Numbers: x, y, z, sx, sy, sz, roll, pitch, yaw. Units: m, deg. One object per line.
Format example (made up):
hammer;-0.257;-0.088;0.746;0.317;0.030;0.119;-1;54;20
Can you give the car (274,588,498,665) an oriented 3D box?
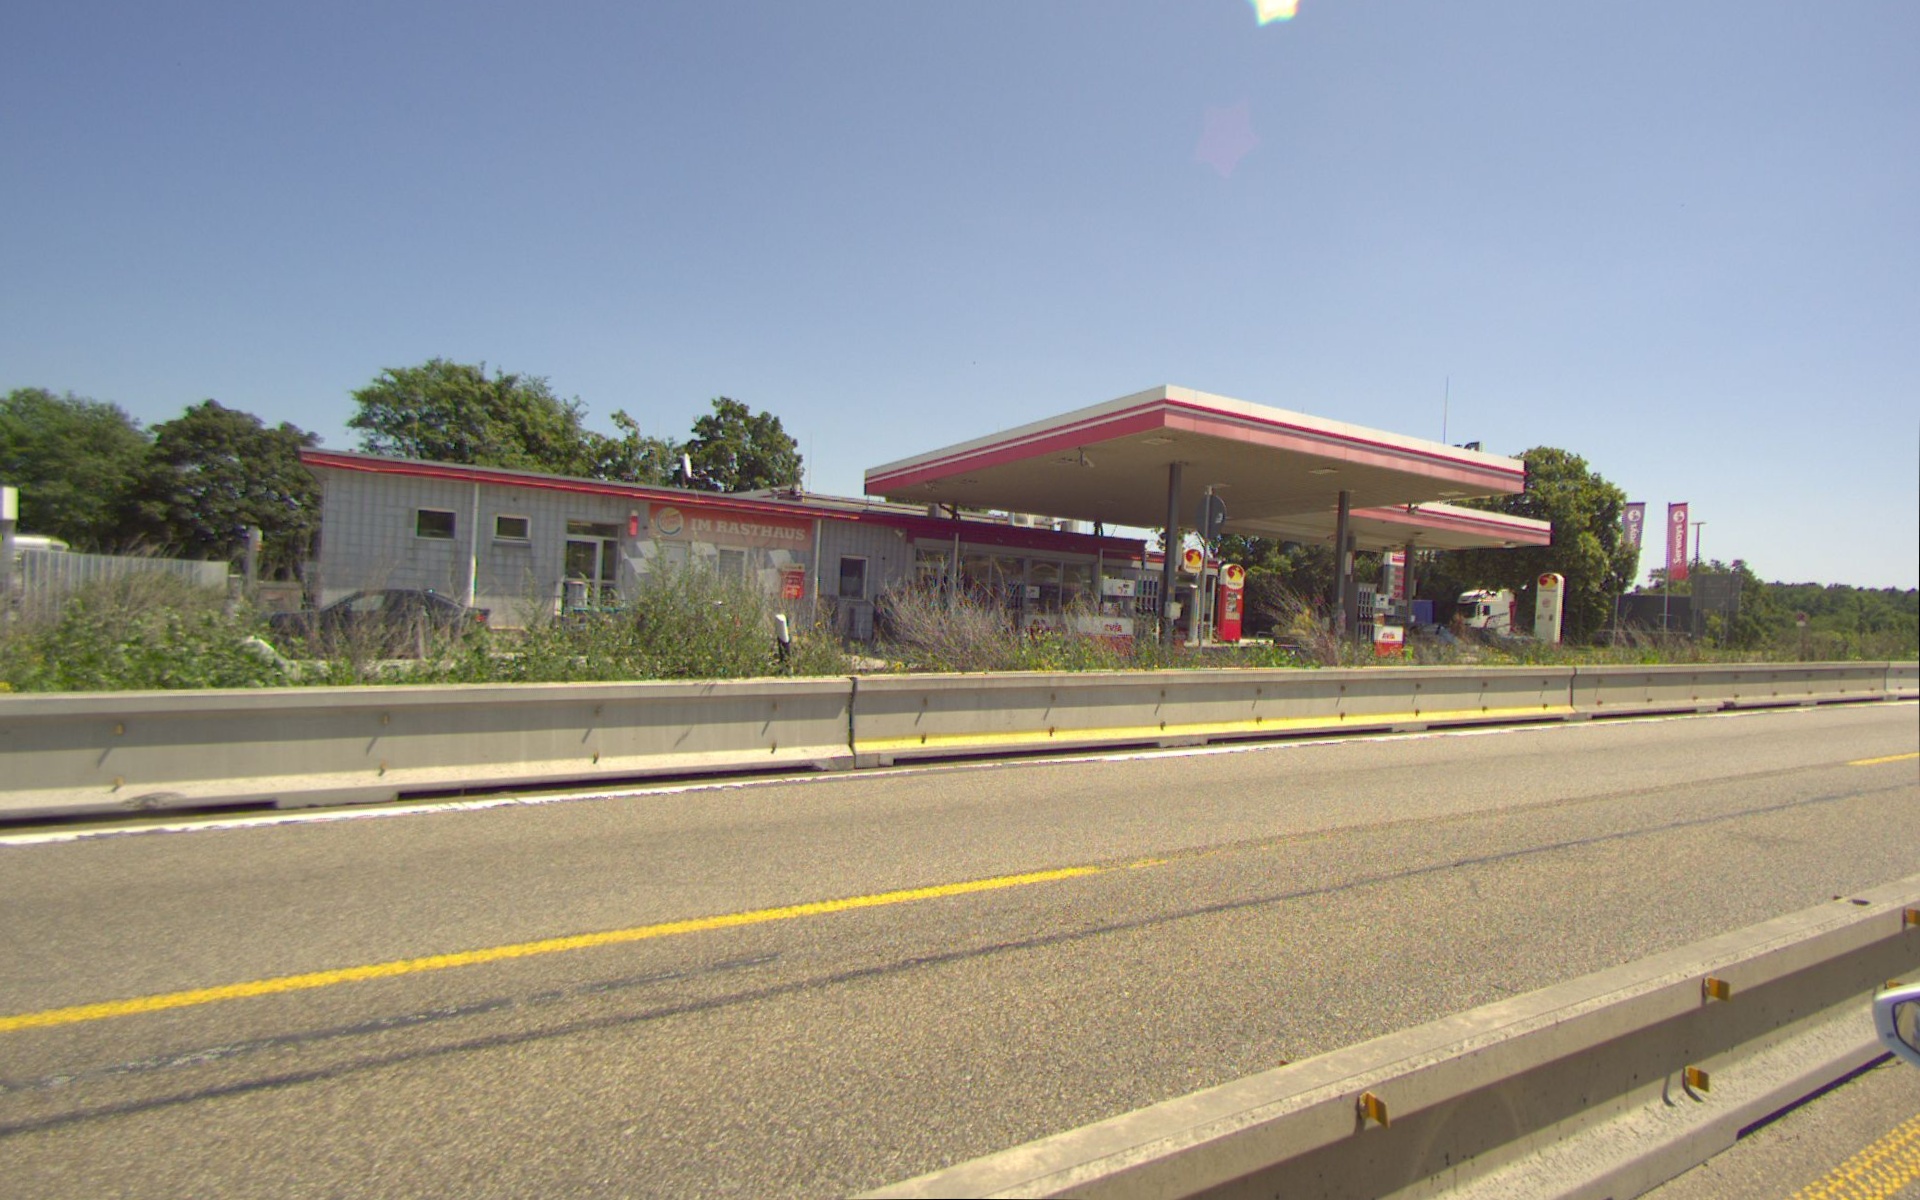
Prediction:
car;-11.949;0.502;21.118;3.953;1.374;1.637;0;5;-31

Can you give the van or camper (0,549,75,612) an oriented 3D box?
van or camper;-38.626;-0.785;41.579;2.424;2.430;5.171;1;0;-35

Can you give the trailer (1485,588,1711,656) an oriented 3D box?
trailer;44.054;1.512;69.603;13.890;4.166;3.159;2;0;-3

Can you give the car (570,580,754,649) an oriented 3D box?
car;-7.152;0.342;24.203;3.954;1.351;1.637;1;7;-31

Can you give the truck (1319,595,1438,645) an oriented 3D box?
truck;28.493;1.340;68.587;6.991;3.104;2.824;2;-1;-8

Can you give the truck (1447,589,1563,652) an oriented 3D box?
truck;37.500;1.377;69.229;6.224;4.038;3.159;2;0;-3

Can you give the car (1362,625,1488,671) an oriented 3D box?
car;16.075;1.663;34.694;4.263;1.430;1.743;2;1;-29
